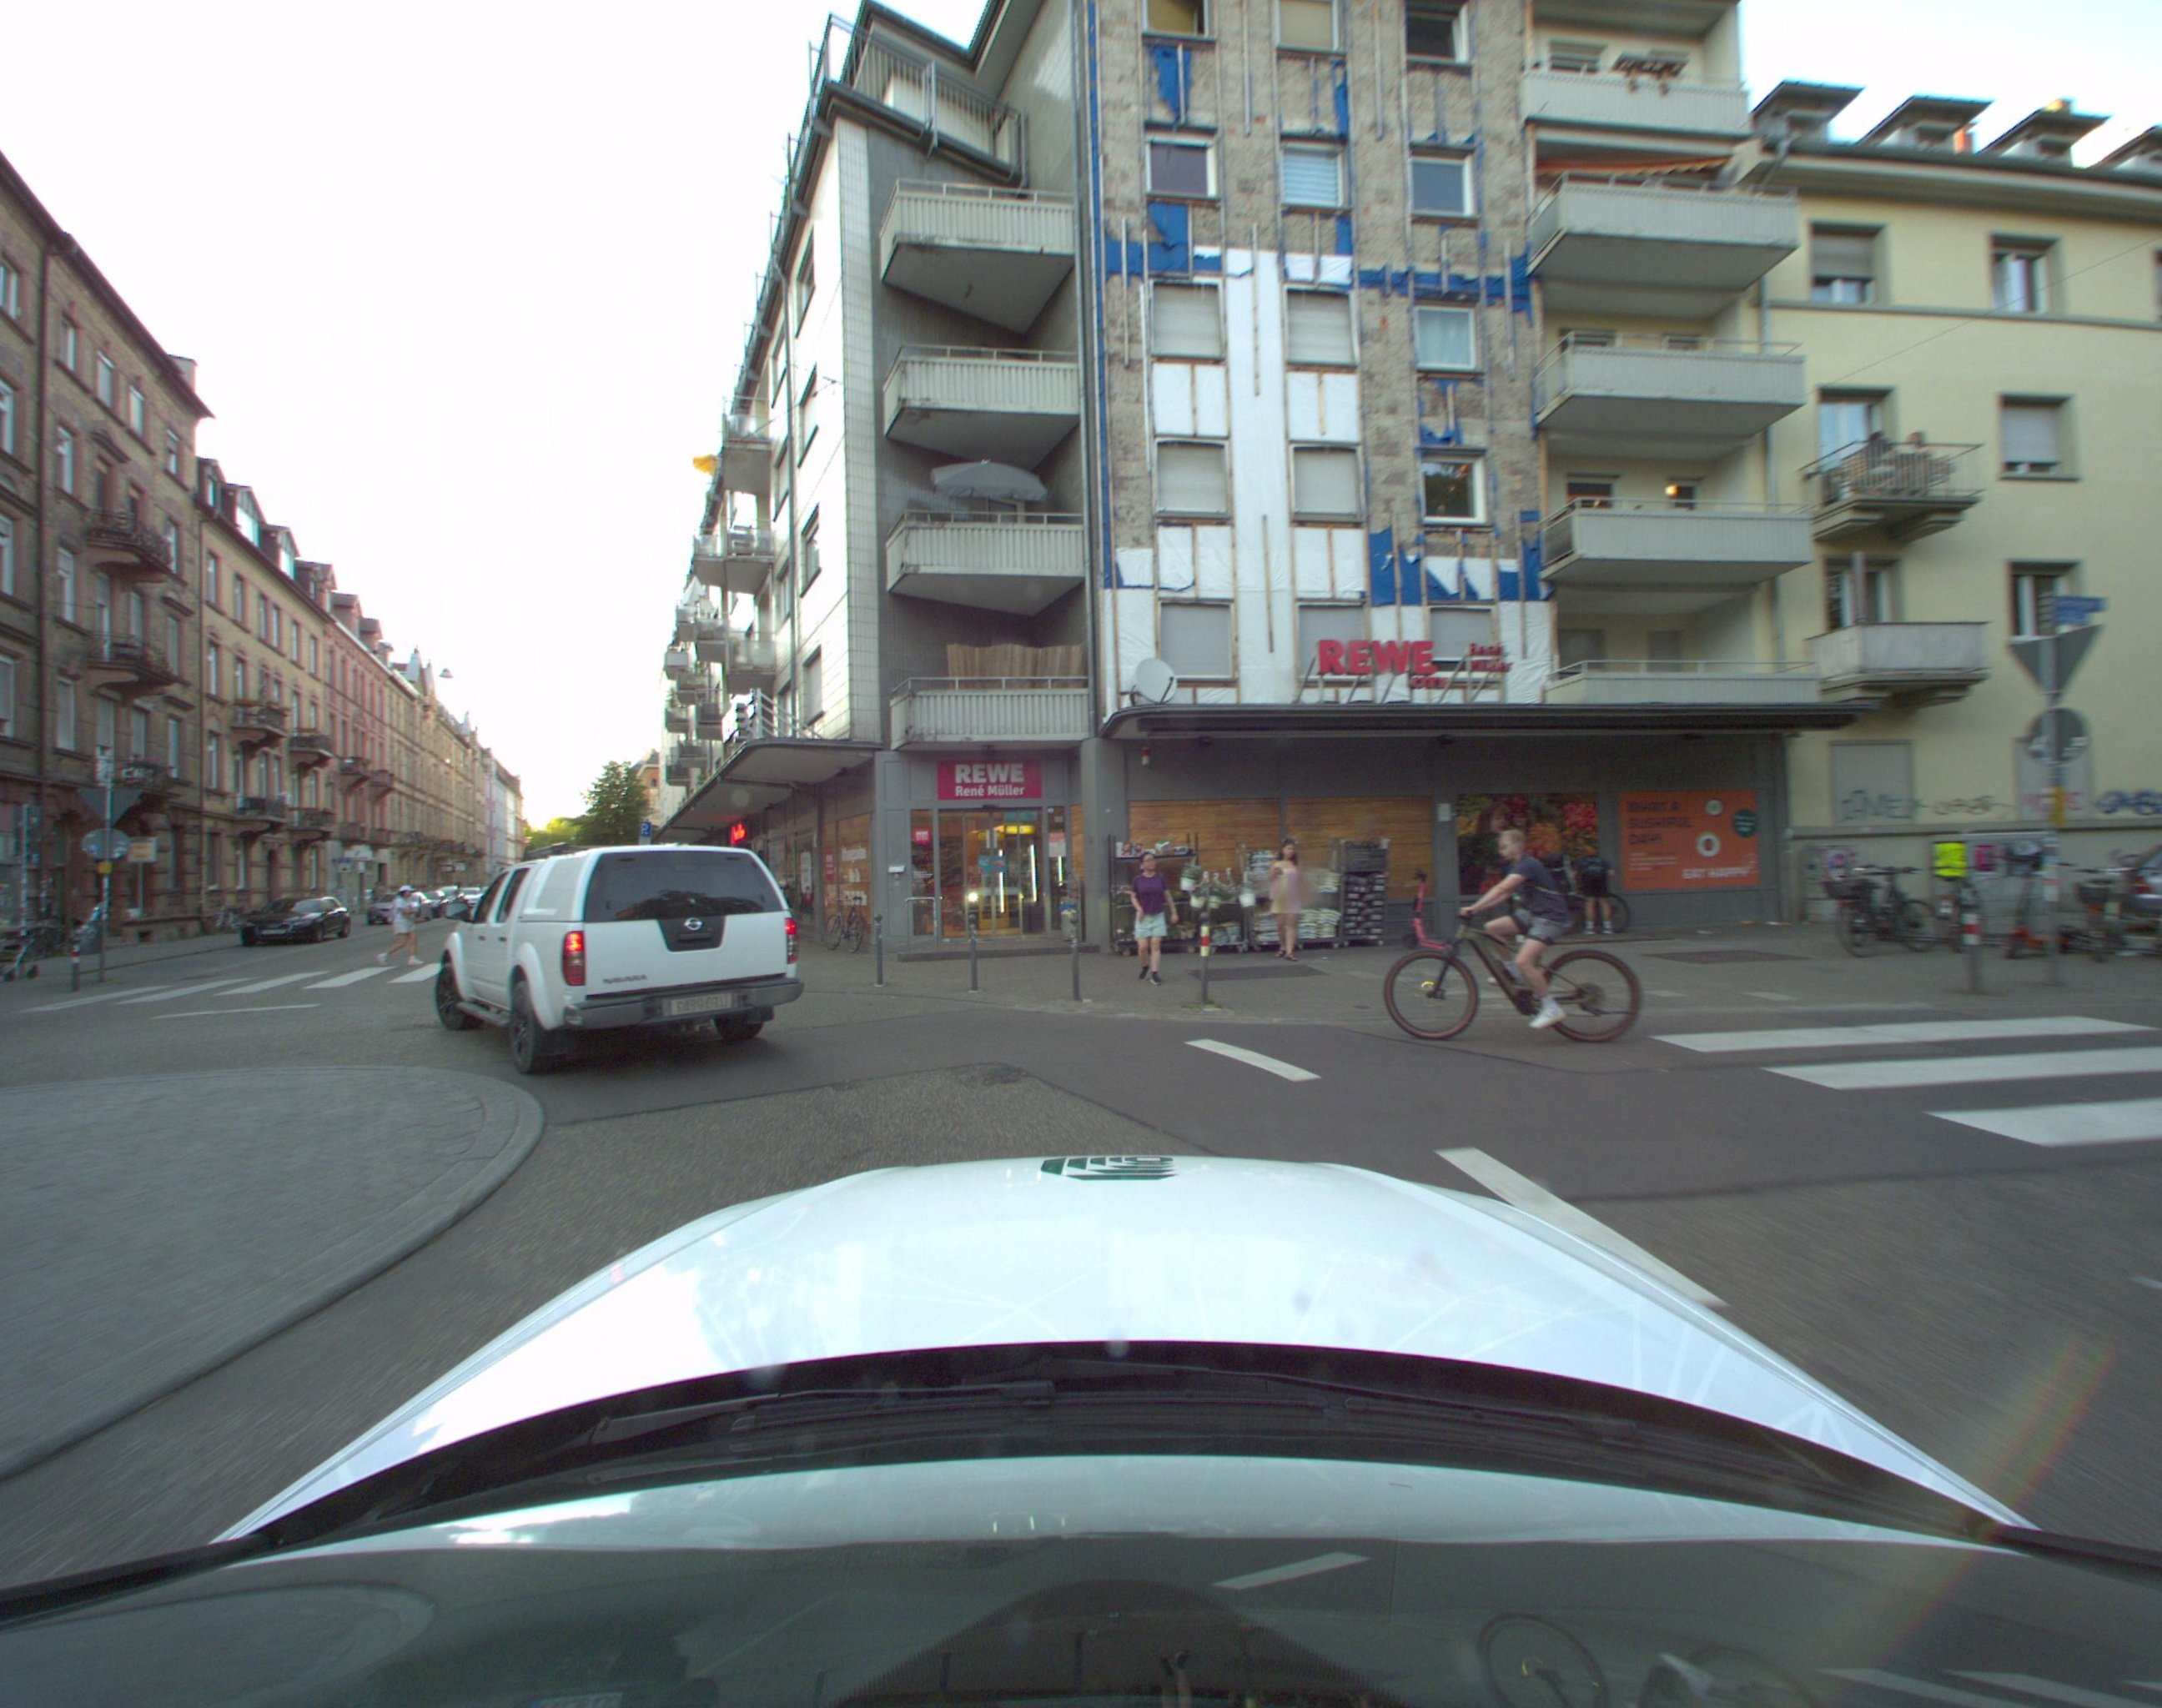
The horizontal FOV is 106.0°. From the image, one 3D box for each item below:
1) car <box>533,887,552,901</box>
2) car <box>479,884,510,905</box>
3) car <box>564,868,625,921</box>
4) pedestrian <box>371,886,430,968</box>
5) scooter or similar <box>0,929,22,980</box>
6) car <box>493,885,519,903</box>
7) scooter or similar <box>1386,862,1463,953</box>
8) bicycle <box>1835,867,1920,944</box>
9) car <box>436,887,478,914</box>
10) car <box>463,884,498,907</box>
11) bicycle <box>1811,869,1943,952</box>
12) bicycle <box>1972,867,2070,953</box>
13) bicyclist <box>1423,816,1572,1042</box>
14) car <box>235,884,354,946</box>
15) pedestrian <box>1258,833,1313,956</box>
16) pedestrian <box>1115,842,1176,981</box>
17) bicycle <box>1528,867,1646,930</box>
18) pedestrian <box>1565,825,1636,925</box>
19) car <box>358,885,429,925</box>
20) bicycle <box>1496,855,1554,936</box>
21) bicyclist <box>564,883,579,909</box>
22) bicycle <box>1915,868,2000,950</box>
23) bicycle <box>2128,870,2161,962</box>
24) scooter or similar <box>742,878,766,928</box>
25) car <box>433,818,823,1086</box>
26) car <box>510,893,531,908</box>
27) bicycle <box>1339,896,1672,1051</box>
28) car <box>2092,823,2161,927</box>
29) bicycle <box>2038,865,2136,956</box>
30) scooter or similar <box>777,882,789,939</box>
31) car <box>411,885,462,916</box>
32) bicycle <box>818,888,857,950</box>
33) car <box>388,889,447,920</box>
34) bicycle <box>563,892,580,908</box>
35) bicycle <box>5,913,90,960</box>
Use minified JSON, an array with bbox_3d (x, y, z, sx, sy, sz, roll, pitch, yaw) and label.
[{"bbox_3d":[-70.217,5.168,106.173,1.847,1.750,3.960,0,-3,-31],"label":"car"},{"bbox_3d":[-51.281,3.548,71.230,1.847,1.750,3.960,0,-3,-31],"label":"car"},{"bbox_3d":[-19.132,1.568,32.052,1.955,1.934,3.960,0,-3,-31],"label":"car"},{"bbox_3d":[-14.063,1.487,16.850,0.803,1.621,0.935,1,-3,-33],"label":"pedestrian"},{"bbox_3d":[-20.715,1.922,15.724,1.249,0.929,0.235,-2,-3,34],"label":"scooter or similar"},{"bbox_3d":[-58.715,4.117,83.225,1.847,1.750,3.960,0,-3,-31],"label":"car"},{"bbox_3d":[5.080,0.755,12.114,0.321,1.266,1.282,0,0,-16],"label":"scooter or similar"},{"bbox_3d":[11.408,0.703,11.645,2.022,1.027,0.374,0,-3,-32],"label":"bicycle"},{"bbox_3d":[-43.055,3.183,56.296,1.847,1.750,3.960,0,-3,-31],"label":"car"},{"bbox_3d":[-47.511,3.267,64.479,1.847,1.750,3.960,0,-3,-31],"label":"car"},{"bbox_3d":[10.463,0.727,10.703,1.658,1.027,0.376,0,-2,-13],"label":"bicycle"},{"bbox_3d":[12.149,0.685,10.506,2.022,1.027,0.486,0,-3,-32],"label":"bicycle"},{"bbox_3d":[3.365,0.573,6.662,0.986,1.689,0.796,-2,-1,24],"label":"bicyclist"},{"bbox_3d":[-24.751,1.866,25.797,1.847,1.750,3.960,0,-3,-31],"label":"car"},{"bbox_3d":[2.972,0.586,11.905,0.660,1.726,0.724,-1,-2,8],"label":"pedestrian"},{"bbox_3d":[0.805,0.705,10.163,0.708,1.652,0.719,-1,-2,5],"label":"pedestrian"},{"bbox_3d":[8.657,0.747,13.953,1.874,1.027,0.377,-1,-2,-7],"label":"bicycle"},{"bbox_3d":[8.598,0.352,13.501,0.662,1.601,0.717,-1,-2,-1],"label":"pedestrian"},{"bbox_3d":[-31.799,2.326,37.789,1.847,1.750,4.120,0,-3,-31],"label":"car"},{"bbox_3d":[7.104,0.650,13.080,0.345,1.203,1.816,-2,-2,14],"label":"bicycle"},{"bbox_3d":[-38.260,3.160,61.194,0.845,1.944,0.775,1,-3,-40],"label":"bicyclist"},{"bbox_3d":[11.826,0.707,10.971,2.022,1.027,0.374,0,-3,-32],"label":"bicycle"},{"bbox_3d":[12.956,0.703,9.681,2.024,1.027,0.486,1,-3,-35],"label":"bicycle"},{"bbox_3d":[-8.838,1.321,21.982,0.442,1.291,1.652,0,-3,-28],"label":"scooter or similar"},{"bbox_3d":[-4.660,0.767,7.932,4.937,1.810,1.956,-4,-2,44],"label":"car"},{"bbox_3d":[-68.002,5.600,98.878,1.847,1.750,3.960,0,-3,-31],"label":"car"},{"bbox_3d":[3.351,0.908,6.661,2.257,1.073,0.795,-2,-1,23],"label":"bicycle"},{"bbox_3d":[17.755,0.254,11.283,2.011,1.526,4.489,1,-3,-43],"label":"car"},{"bbox_3d":[12.458,0.663,10.067,2.022,1.027,0.486,0,-3,-32],"label":"bicycle"},{"bbox_3d":[-6.829,1.280,18.648,0.220,1.238,0.958,0,0,-23],"label":"scooter or similar"},{"bbox_3d":[-37.682,2.685,47.688,1.847,1.679,3.996,0,-3,-31],"label":"car"},{"bbox_3d":[-4.558,1.202,15.224,0.291,1.113,0.954,1,-3,-43],"label":"bicycle"},{"bbox_3d":[-35.222,2.647,43.334,1.847,1.547,3.996,0,-3,-31],"label":"car"},{"bbox_3d":[-38.314,3.450,61.252,0.845,1.171,1.913,1,-3,-40],"label":"bicycle"},{"bbox_3d":[-25.996,2.046,20.533,0.389,1.037,2.458,0,-3,-29],"label":"bicycle"}]
